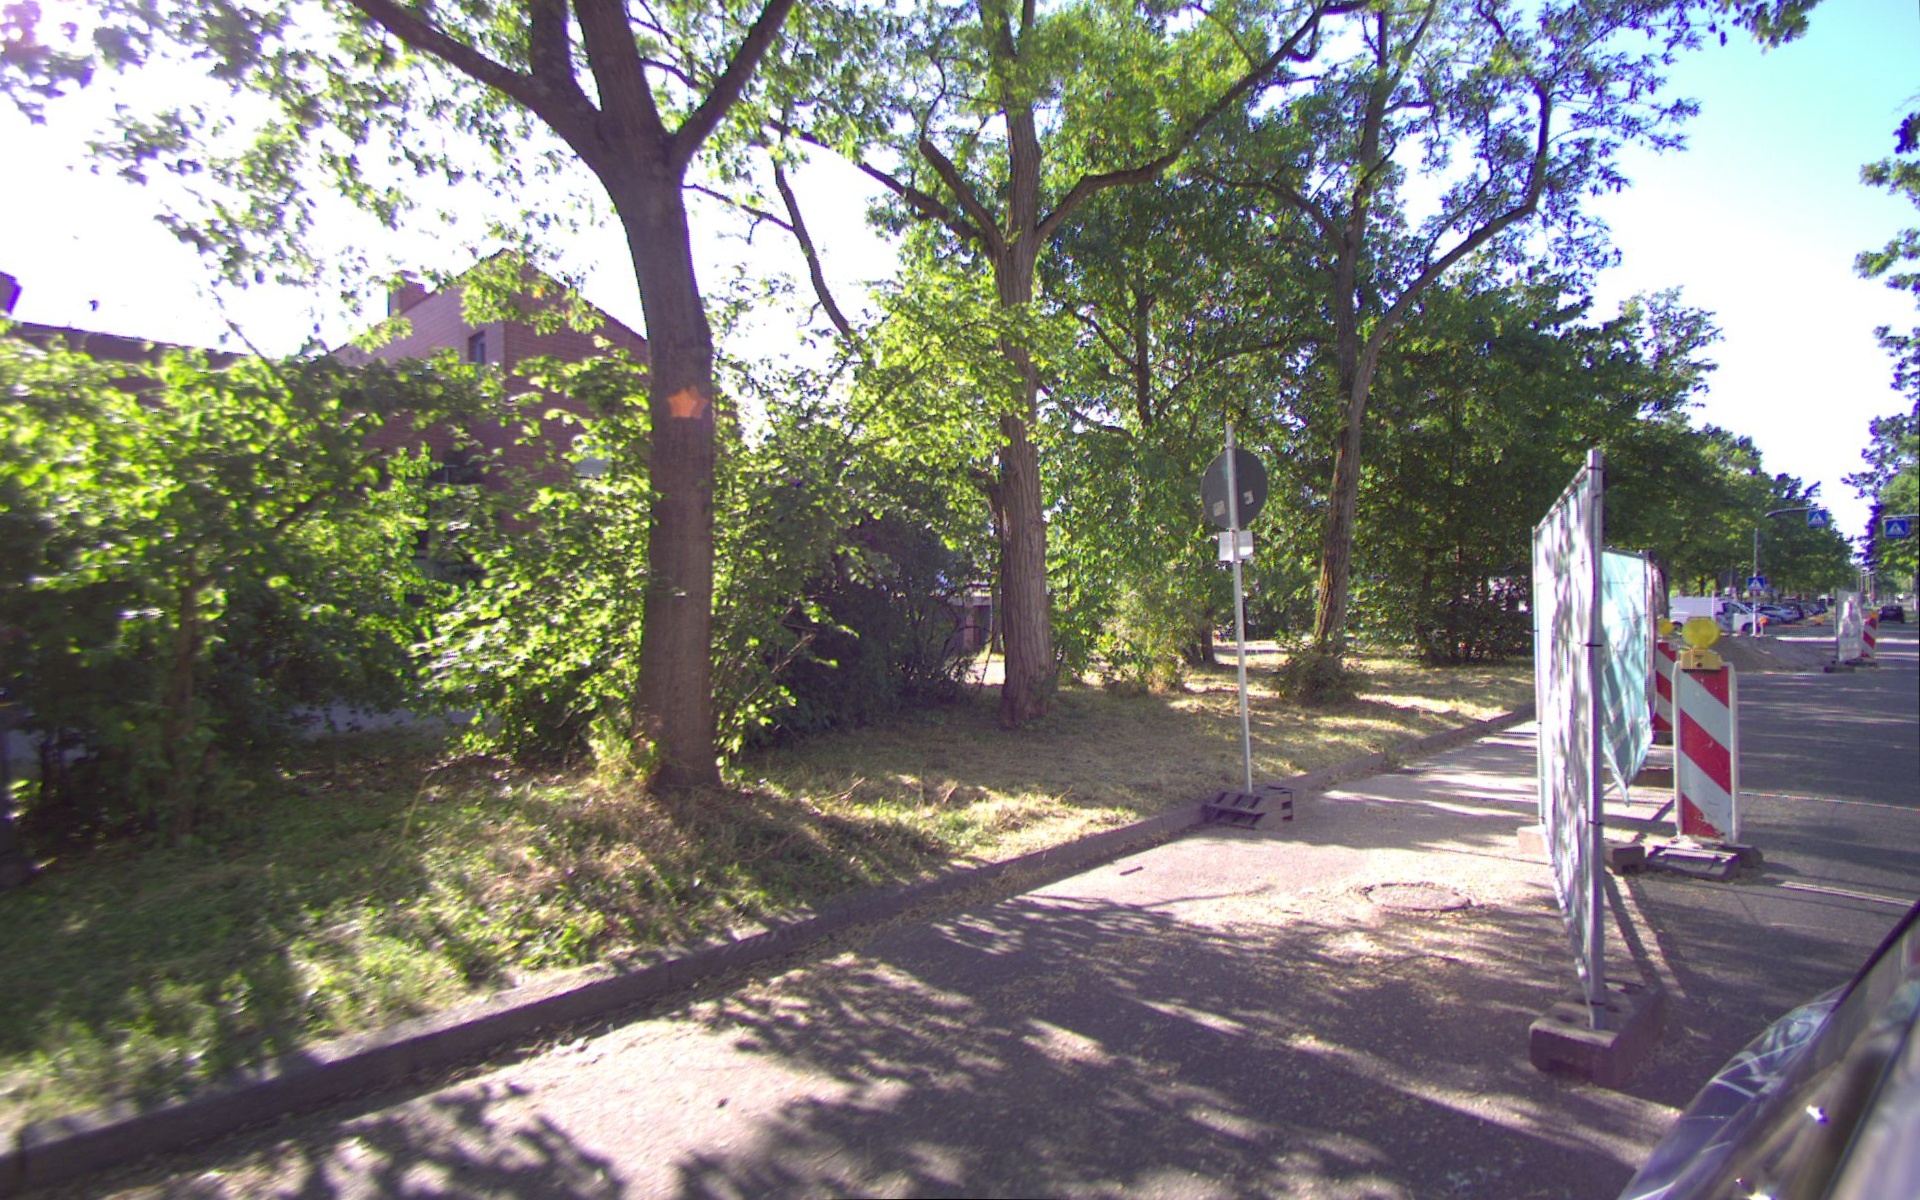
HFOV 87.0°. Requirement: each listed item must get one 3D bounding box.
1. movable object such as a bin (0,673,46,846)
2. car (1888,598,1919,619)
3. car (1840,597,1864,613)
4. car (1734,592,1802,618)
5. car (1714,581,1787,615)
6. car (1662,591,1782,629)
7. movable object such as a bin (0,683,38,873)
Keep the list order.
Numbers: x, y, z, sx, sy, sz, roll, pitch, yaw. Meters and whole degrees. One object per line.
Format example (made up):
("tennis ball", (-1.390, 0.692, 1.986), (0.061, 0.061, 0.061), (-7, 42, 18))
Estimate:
("movable object such as a bin", (-5.661, 0.926, 5.847), (0.454, 0.891, 0.727), (-7, 6, -40))
("car", (86.672, 0.802, 92.884), (3.935, 1.839, 1.994), (0, -2, -45))
("car", (108.981, 0.573, 123.625), (1.994, 1.905, 3.937), (1, 1, 44))
("car", (64.479, 0.361, 80.831), (4.226, 2.030, 1.543), (0, 0, 40))
("car", (60.493, -0.172, 77.487), (4.392, 2.578, 1.862), (0, 0, 40))
("car", (42.850, 0.542, 56.989), (5.252, 2.030, 1.970), (0, 0, 42))
("movable object such as a bin", (-5.189, 0.940, 5.279), (0.454, 0.891, 0.727), (-7, 6, -40))
